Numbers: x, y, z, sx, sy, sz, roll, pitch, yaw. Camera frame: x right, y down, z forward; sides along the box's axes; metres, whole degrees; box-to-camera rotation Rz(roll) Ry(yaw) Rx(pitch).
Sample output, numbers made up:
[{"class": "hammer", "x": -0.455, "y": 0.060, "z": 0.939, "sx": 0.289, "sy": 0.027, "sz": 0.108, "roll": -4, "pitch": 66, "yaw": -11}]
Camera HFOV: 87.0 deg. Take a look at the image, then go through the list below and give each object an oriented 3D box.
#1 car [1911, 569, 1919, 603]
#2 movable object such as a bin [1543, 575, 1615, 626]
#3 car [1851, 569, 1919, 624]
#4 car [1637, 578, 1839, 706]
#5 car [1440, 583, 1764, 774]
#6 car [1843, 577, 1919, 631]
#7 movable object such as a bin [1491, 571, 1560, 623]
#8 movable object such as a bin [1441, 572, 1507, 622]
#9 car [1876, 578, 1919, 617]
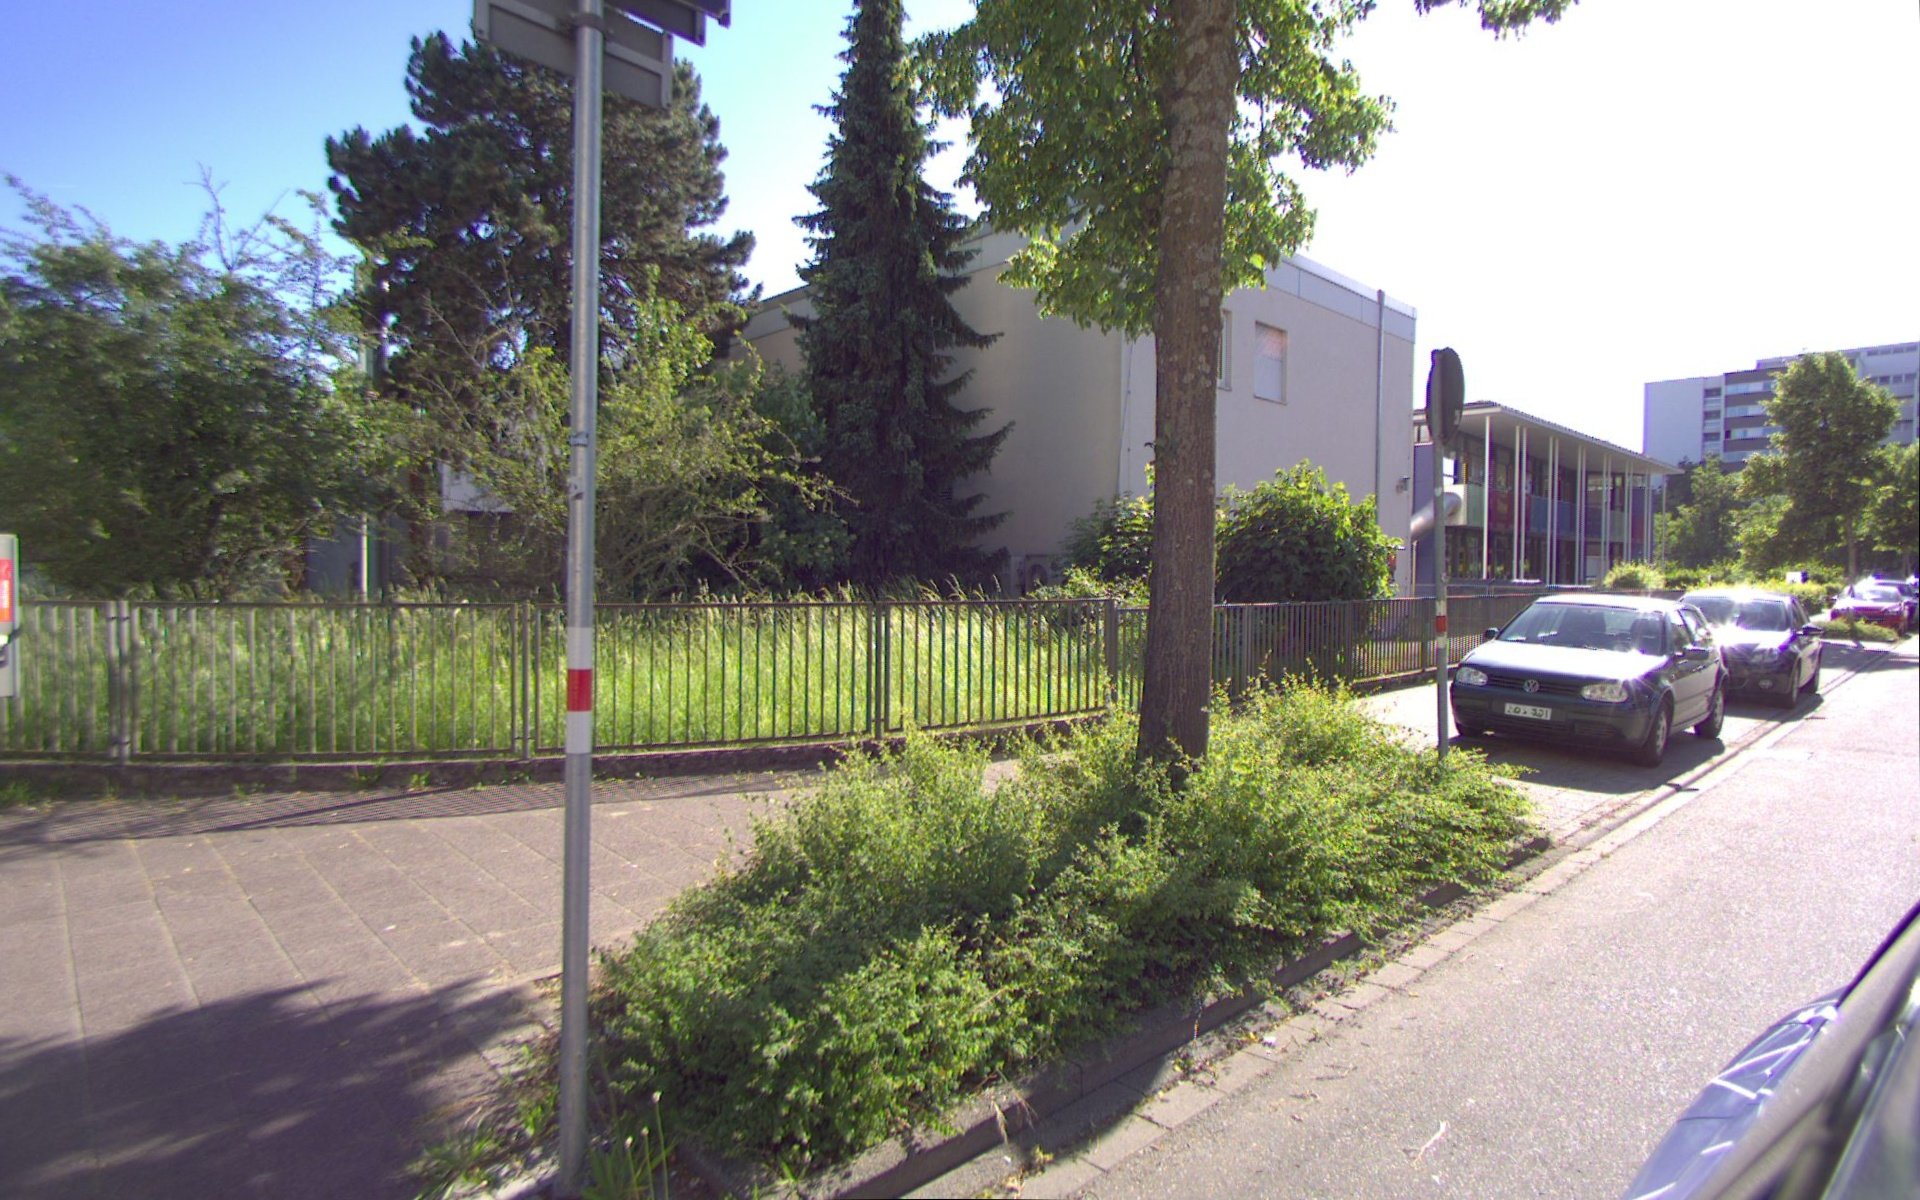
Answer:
[{"class": "car", "x": 50.105, "y": -0.684, "z": 51.740, "sx": 4.415, "sy": 1.667, "sz": 1.821, "roll": -2, "pitch": 6, "yaw": -44}, {"class": "movable object such as a bin", "x": 17.749, "y": -0.017, "z": 29.017, "sx": 1.604, "sy": 1.374, "sz": 1.368, "roll": -1, "pitch": 2, "yaw": -43}, {"class": "car", "x": 32.101, "y": -0.174, "z": 34.650, "sx": 4.337, "sy": 1.703, "sz": 1.903, "roll": -2, "pitch": 4, "yaw": -43}, {"class": "car", "x": 11.191, "y": 0.475, "z": 14.457, "sx": 1.785, "sy": 1.534, "sz": 3.936, "roll": 3, "pitch": 3, "yaw": 45}, {"class": "car", "x": 6.629, "y": 0.595, "z": 10.239, "sx": 4.350, "sy": 1.439, "sz": 1.748, "roll": -2, "pitch": 2, "yaw": -43}, {"class": "car", "x": 28.132, "y": 0.078, "z": 30.742, "sx": 3.784, "sy": 1.522, "sz": 1.676, "roll": -1, "pitch": 2, "yaw": -45}, {"class": "movable object such as a bin", "x": 16.820, "y": -0.109, "z": 30.104, "sx": 1.604, "sy": 1.466, "sz": 1.368, "roll": -1, "pitch": 2, "yaw": -43}, {"class": "movable object such as a bin", "x": 15.820, "y": -0.127, "z": 31.158, "sx": 1.604, "sy": 1.466, "sz": 1.332, "roll": -1, "pitch": 2, "yaw": -43}, {"class": "car", "x": 37.145, "y": -0.127, "z": 39.463, "sx": 1.963, "sy": 1.335, "sz": 4.703, "roll": 5, "pitch": 5, "yaw": 43}]
